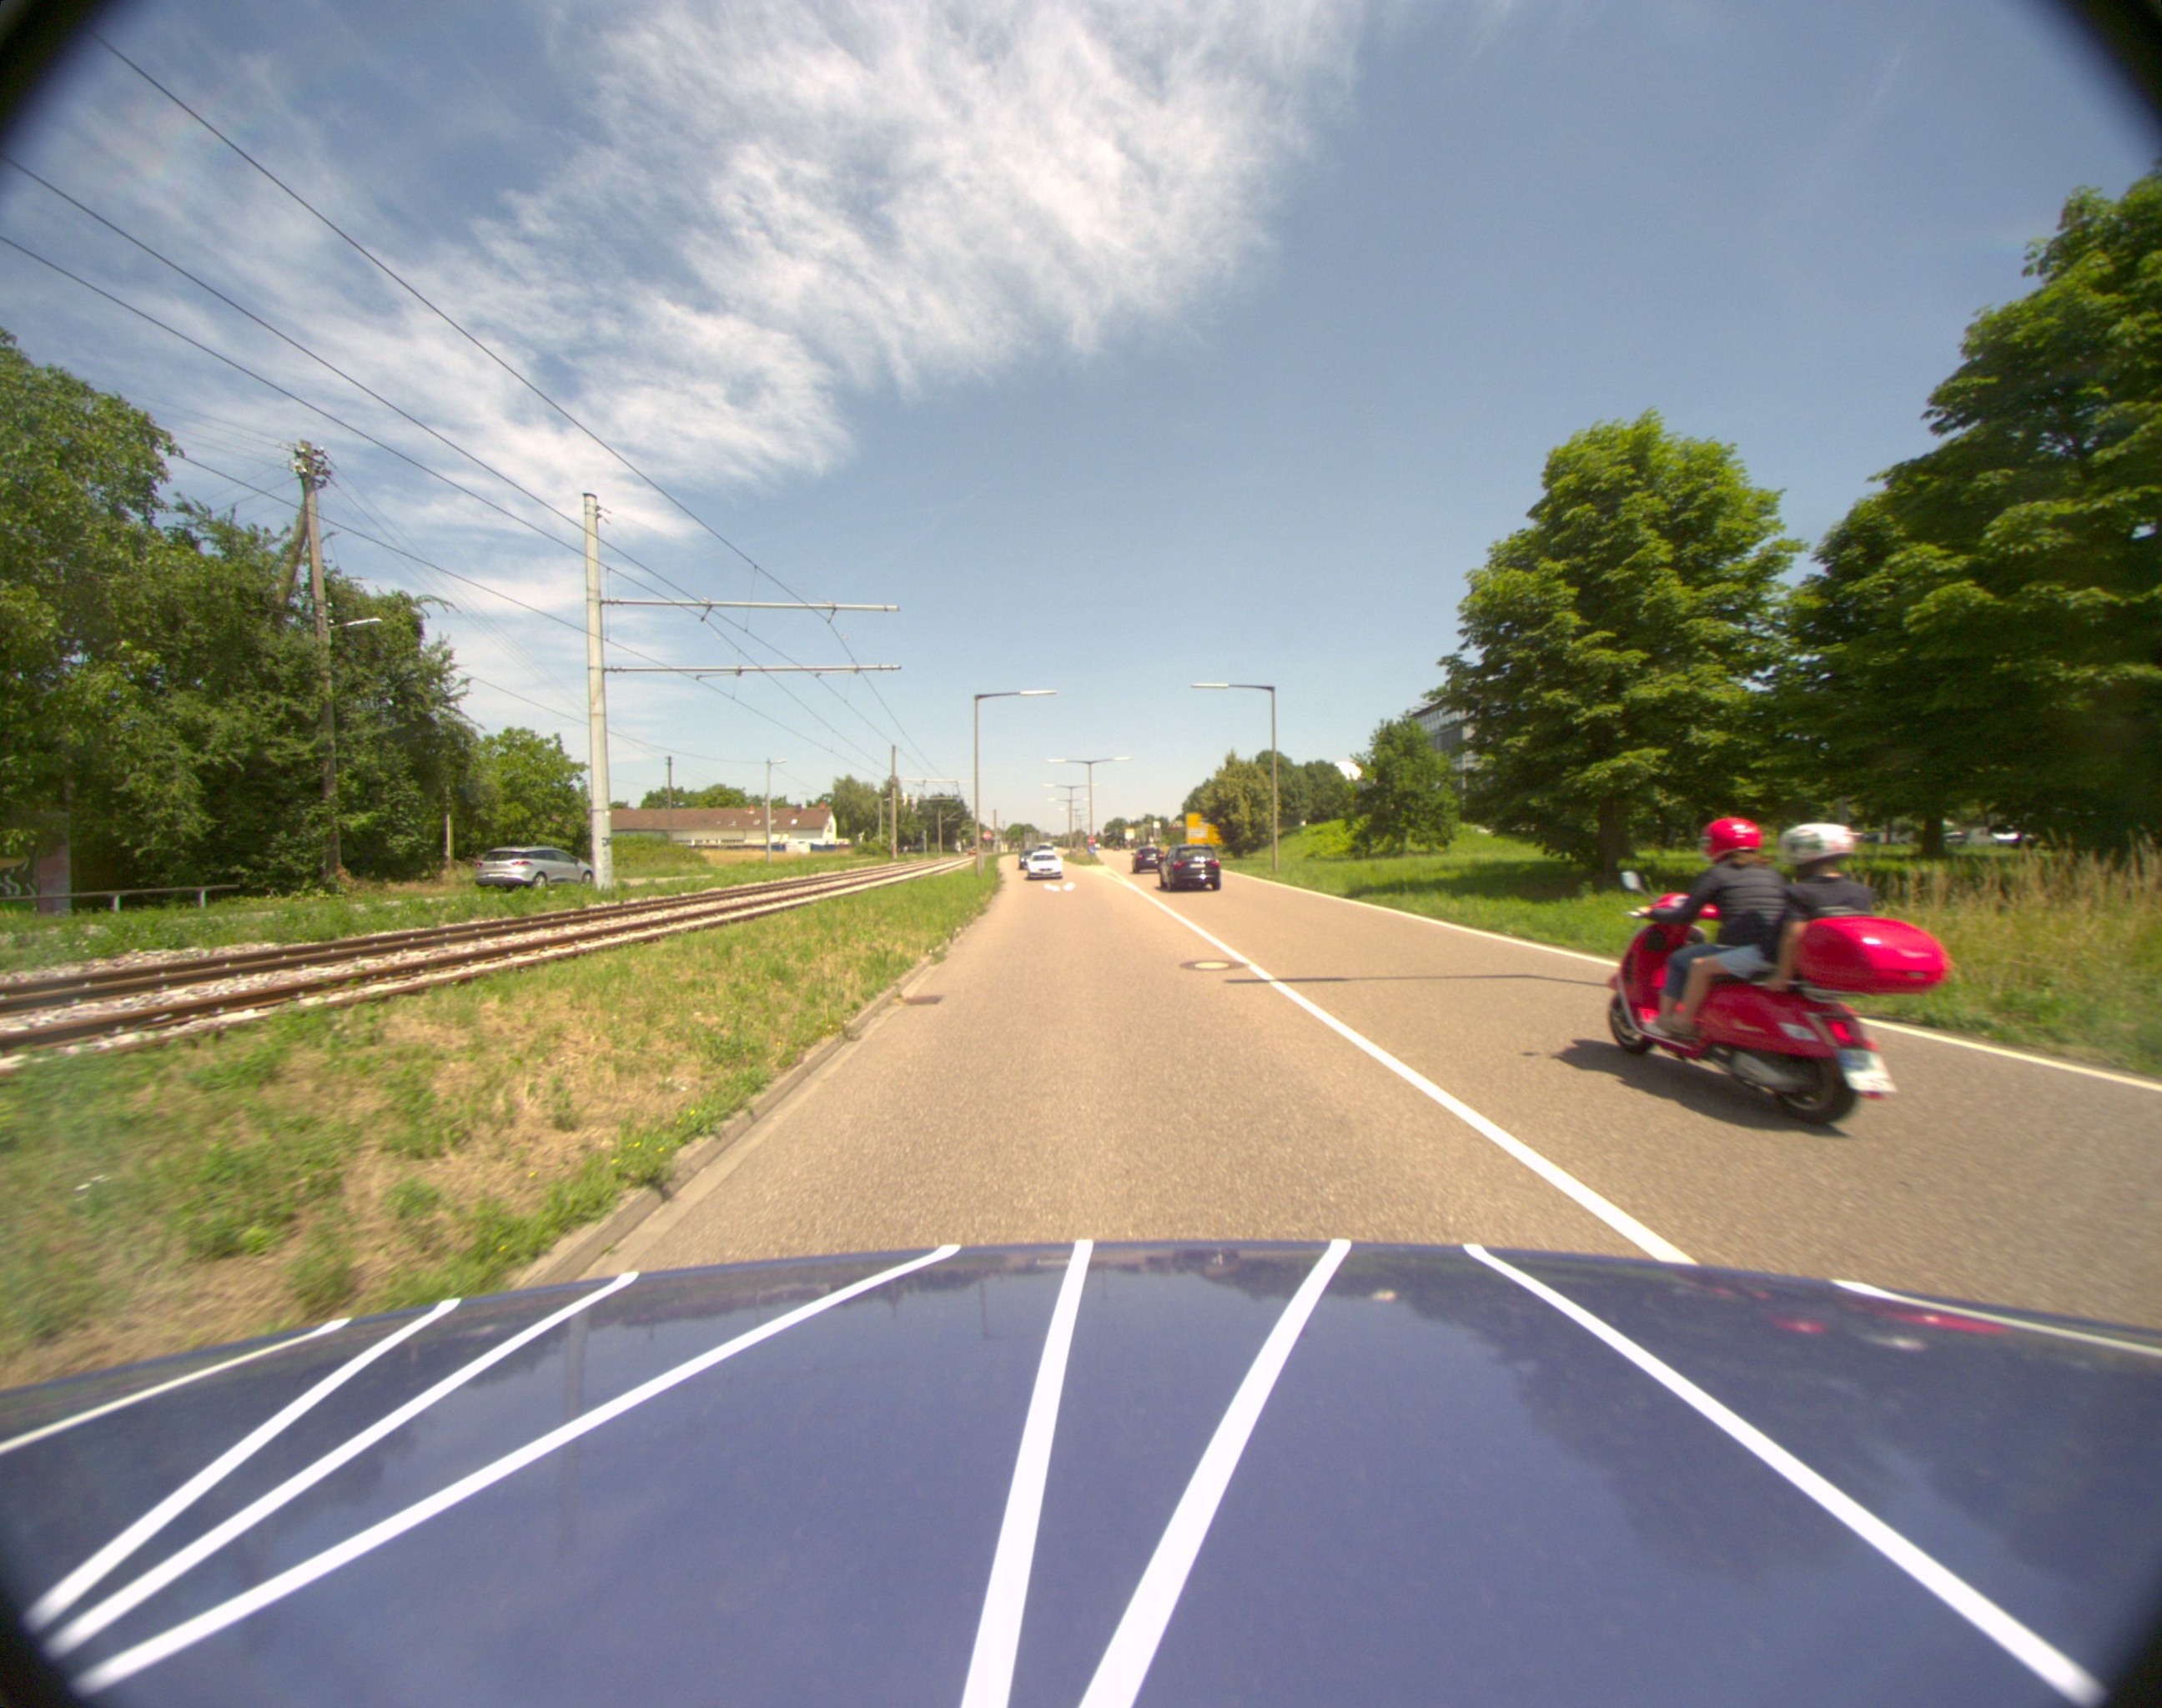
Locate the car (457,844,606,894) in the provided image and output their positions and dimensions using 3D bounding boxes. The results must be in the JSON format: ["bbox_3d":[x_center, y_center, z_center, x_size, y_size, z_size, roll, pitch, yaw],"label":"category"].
[{"bbox_3d":[-17.938,0.432,25.129,1.685,1.406,4.547,-1,2,-2],"label":"car"}]

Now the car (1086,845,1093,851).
[{"bbox_3d":[2.450,-1.721,211.301,1.619,1.387,3.598,-1,2,-4],"label":"car"}]

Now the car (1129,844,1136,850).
[{"bbox_3d":[15.080,-1.992,224.408,1.653,1.577,3.818,-1,2,-2],"label":"car"}]

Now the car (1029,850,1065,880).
[{"bbox_3d":[-1.776,0.567,41.251,1.772,1.434,4.128,-1,2,0],"label":"car"}]

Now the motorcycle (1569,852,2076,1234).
[{"bbox_3d":[3.769,0.809,4.231,0.705,1.576,2.147,-1,-1,0],"label":"motorcycle"}]

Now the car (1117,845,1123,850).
[{"bbox_3d":[11.206,-1.893,219.604,1.621,1.346,3.515,-1,2,3],"label":"car"}]

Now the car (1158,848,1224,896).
[{"bbox_3d":[3.924,0.608,27.813,1.831,1.592,4.484,-1,0,1],"label":"car"}]

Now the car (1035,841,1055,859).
[{"bbox_3d":[-3.580,-0.471,75.889,1.883,1.687,3.786,-1,2,-2],"label":"car"}]

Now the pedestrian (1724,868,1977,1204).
[{"bbox_3d":[3.762,0.835,3.763,0.644,1.527,0.577,-1,-1,0],"label":"pedestrian"}]

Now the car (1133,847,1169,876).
[{"bbox_3d":[4.074,0.399,44.782,1.826,1.563,4.111,-1,2,2],"label":"car"}]

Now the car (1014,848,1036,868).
[{"bbox_3d":[-4.169,0.272,56.848,1.510,1.423,3.356,-1,2,-3],"label":"car"}]

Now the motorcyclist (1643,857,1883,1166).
[{"bbox_3d":[3.757,0.820,4.245,0.690,1.576,0.670,-1,-2,0],"label":"motorcyclist"}]
